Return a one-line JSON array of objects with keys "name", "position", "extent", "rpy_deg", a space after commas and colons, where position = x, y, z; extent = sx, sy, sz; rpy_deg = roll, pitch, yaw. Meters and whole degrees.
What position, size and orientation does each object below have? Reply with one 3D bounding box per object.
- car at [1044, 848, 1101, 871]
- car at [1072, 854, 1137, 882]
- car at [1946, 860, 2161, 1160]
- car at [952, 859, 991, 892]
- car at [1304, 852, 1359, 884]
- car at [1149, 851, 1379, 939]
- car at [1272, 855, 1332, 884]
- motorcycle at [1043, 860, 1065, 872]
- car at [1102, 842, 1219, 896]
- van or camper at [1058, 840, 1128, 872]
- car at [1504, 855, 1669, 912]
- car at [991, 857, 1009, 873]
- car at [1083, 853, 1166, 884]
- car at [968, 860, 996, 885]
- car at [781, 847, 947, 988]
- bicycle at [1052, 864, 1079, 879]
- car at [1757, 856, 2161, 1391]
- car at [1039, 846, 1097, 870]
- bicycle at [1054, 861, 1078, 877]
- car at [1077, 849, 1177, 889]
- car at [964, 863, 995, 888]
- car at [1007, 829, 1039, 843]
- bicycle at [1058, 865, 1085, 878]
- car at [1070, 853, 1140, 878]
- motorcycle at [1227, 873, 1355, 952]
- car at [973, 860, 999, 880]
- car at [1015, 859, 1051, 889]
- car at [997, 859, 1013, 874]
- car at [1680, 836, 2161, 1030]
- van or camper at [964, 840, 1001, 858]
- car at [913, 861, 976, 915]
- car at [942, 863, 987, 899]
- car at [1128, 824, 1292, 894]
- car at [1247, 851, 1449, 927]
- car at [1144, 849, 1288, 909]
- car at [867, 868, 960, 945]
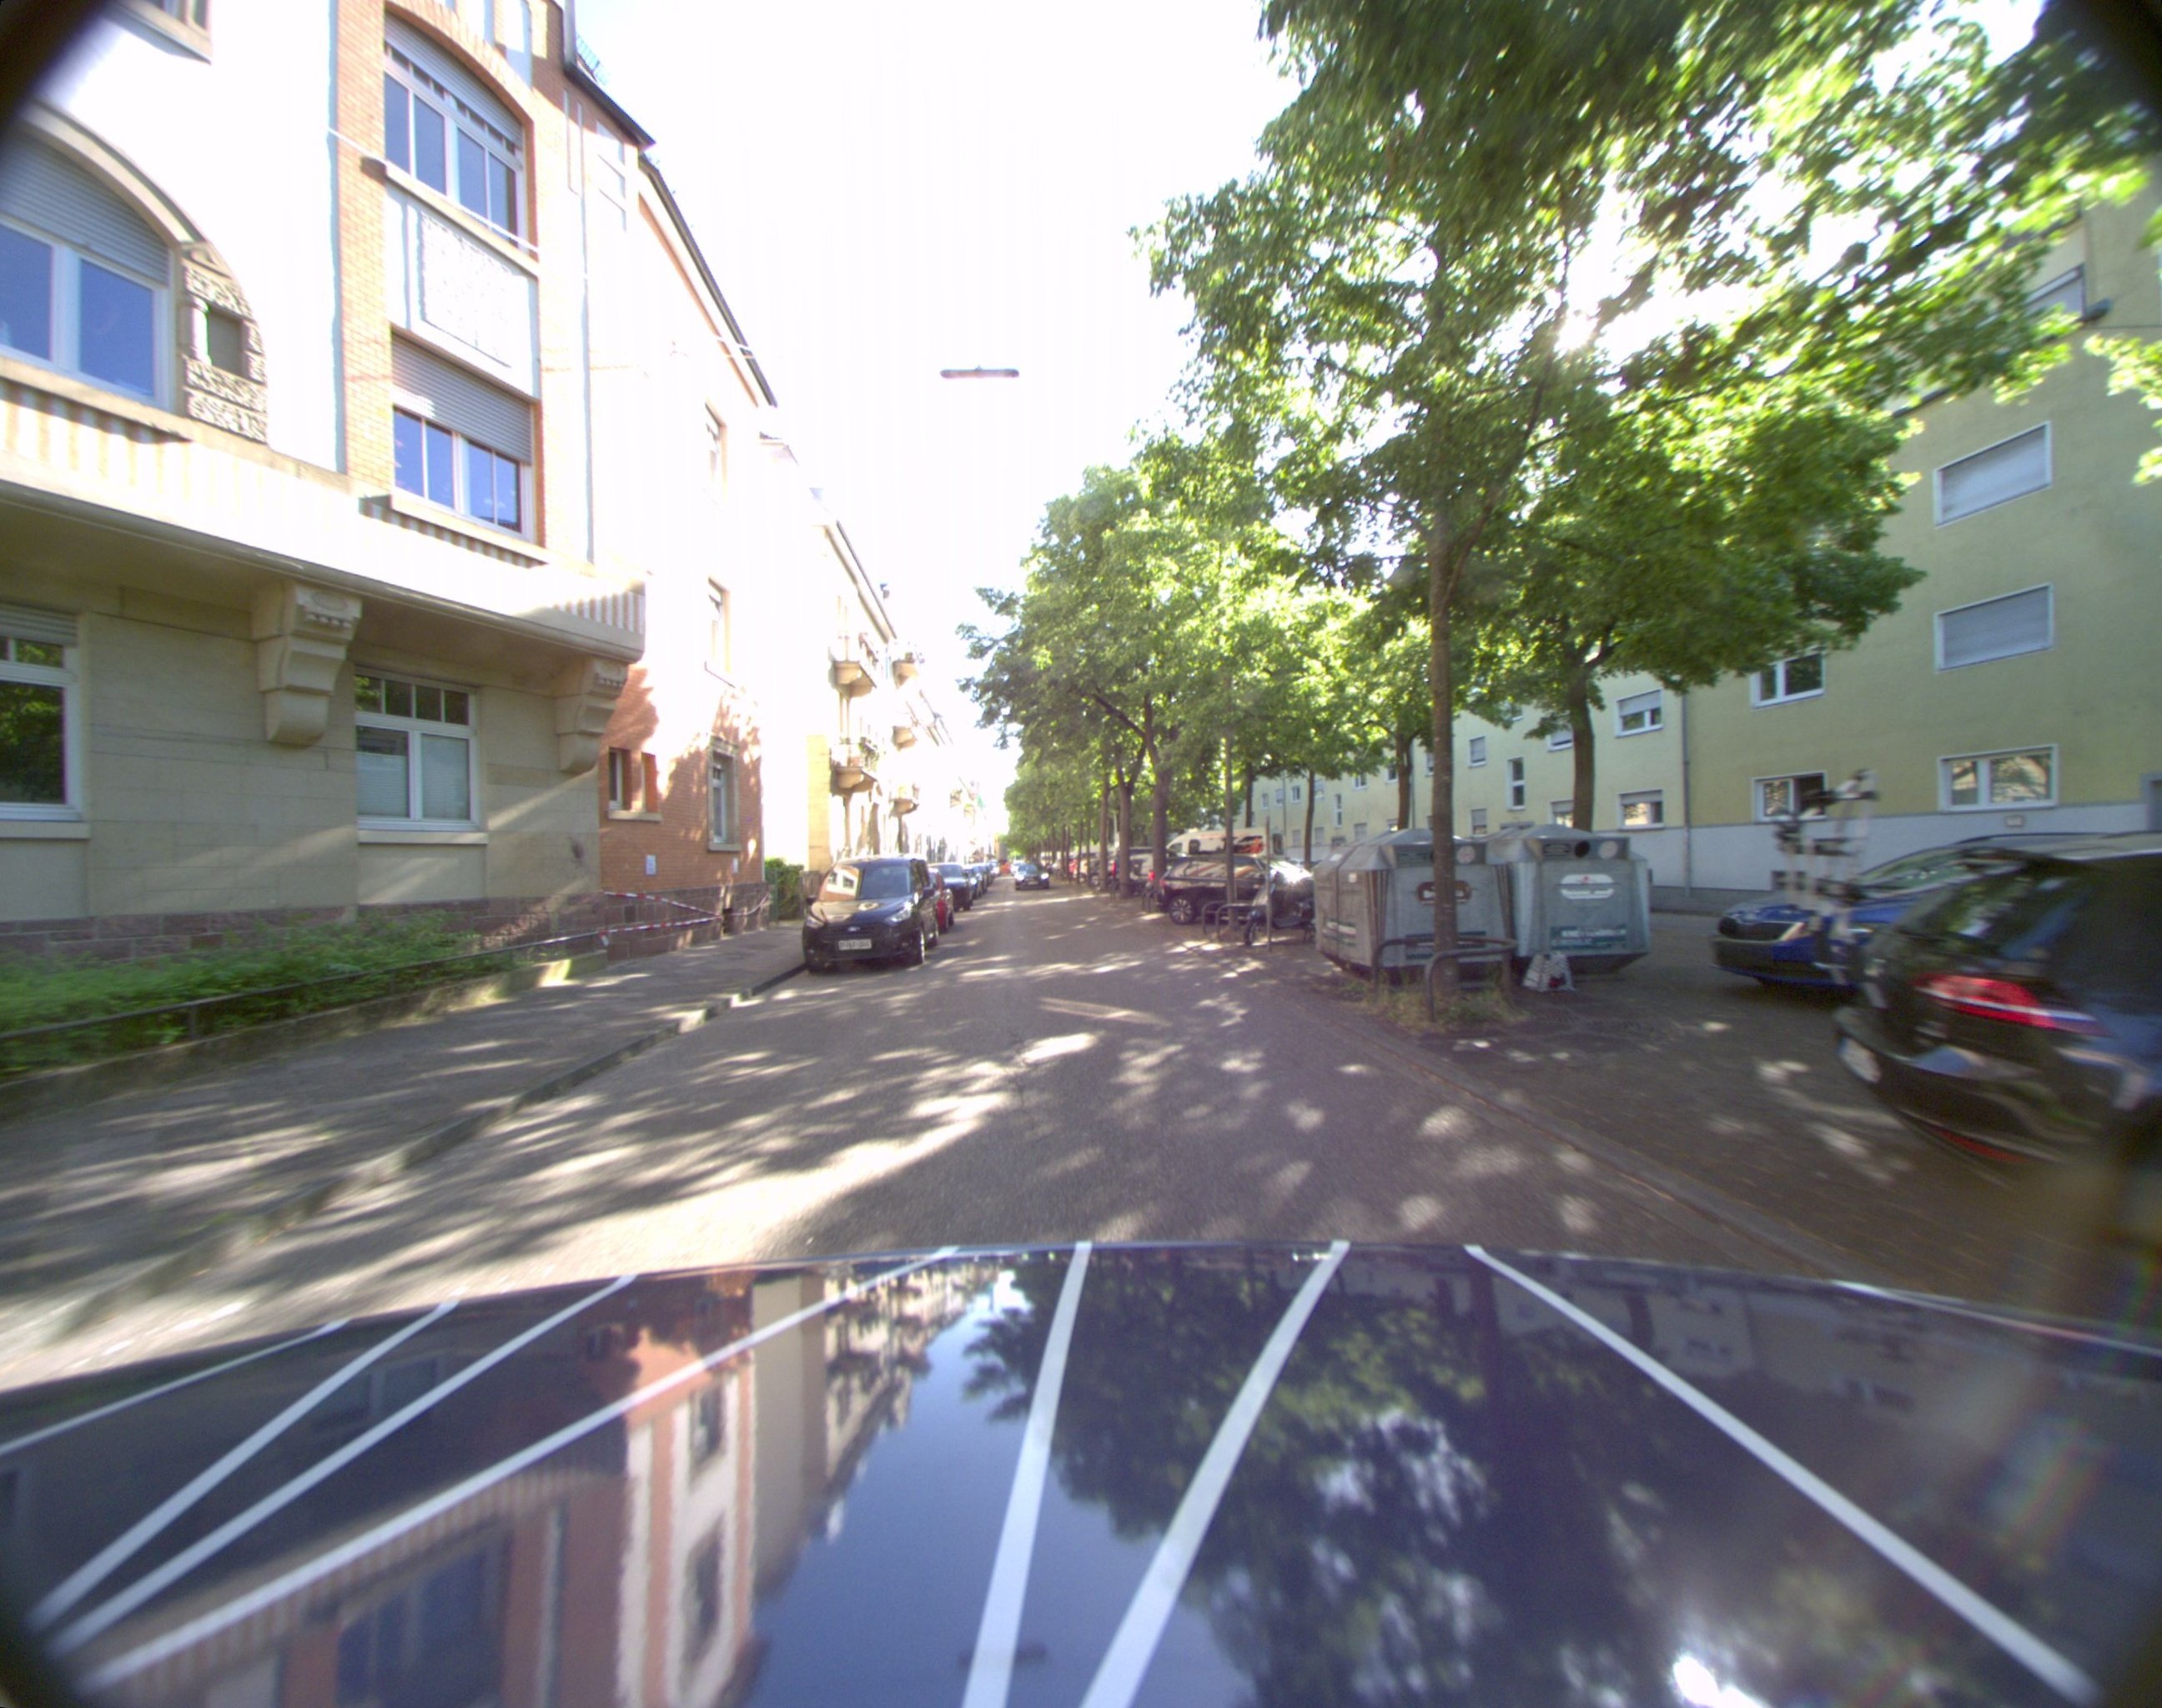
[{"name": "car", "position": [-0.689, 0.419, 60.335], "extent": [4.080, 1.643, 1.865], "rpy_deg": [-3, 0, 22]}, {"name": "car", "position": [1.481, 0.863, 47.760], "extent": [3.686, 1.586, 1.775], "rpy_deg": [-3, 0, 20]}, {"name": "car", "position": [7.144, 0.724, 3.393], "extent": [3.989, 1.395, 1.790], "rpy_deg": [-1, 0, 32]}, {"name": "car", "position": [-5.563, 1.063, 38.949], "extent": [1.811, 1.554, 4.318], "rpy_deg": [-1, 0, -6]}, {"name": "car", "position": [13.036, 0.716, 39.680], "extent": [1.479, 1.550, 3.182], "rpy_deg": [-4, 0, -6]}, {"name": "car", "position": [3.665, 0.769, 15.500], "extent": [4.142, 1.545, 1.837], "rpy_deg": [-1, 0, 36]}, {"name": "car", "position": [12.764, 0.874, 44.165], "extent": [1.898, 1.556, 4.158], "rpy_deg": [0, 0, -7]}, {"name": "motorcycle", "position": [-2.718, 1.241, 77.270], "extent": [2.152, 1.222, 0.882], "rpy_deg": [-1, 0, 4]}, {"name": "car", "position": [2.946, 0.580, 28.267], "extent": [3.841, 1.877, 1.847], "rpy_deg": [-2, 0, 31]}, {"name": "van or camper", "position": [1.196, 0.222, 75.304], "extent": [6.292, 2.808, 2.411], "rpy_deg": [-3, 0, 24]}, {"name": "car", "position": [14.674, 0.789, 22.379], "extent": [1.779, 1.486, 4.143], "rpy_deg": [-1, 0, -7]}, {"name": "car", "position": [-8.019, 1.073, 75.589], "extent": [1.604, 1.484, 3.965], "rpy_deg": [1, 0, -4]}, {"name": "car", "position": [2.342, 0.785, 40.938], "extent": [4.099, 1.473, 1.734], "rpy_deg": [-2, 1, 26]}, {"name": "car", "position": [-6.972, 1.270, 53.808], "extent": [1.772, 1.542, 4.181], "rpy_deg": [-3, 0, -6]}, {"name": "car", "position": [-3.475, 0.911, 13.002], "extent": [1.806, 1.860, 4.271], "rpy_deg": [-5, 0, -5]}, {"name": "bicycle", "position": [-1.078, 1.218, 52.337], "extent": [1.813, 0.988, 0.426], "rpy_deg": [-2, 0, 13]}, {"name": "car", "position": [4.754, 0.760, 2.100], "extent": [4.130, 1.473, 1.779], "rpy_deg": [-1, 1, 35]}, {"name": "car", "position": [-1.516, 0.460, 87.803], "extent": [6.312, 2.544, 2.342], "rpy_deg": [-2, 1, 27]}, {"name": "bicycle", "position": [-1.156, 1.126, 58.677], "extent": [1.688, 1.152, 0.379], "rpy_deg": [-3, 1, 15]}, {"name": "car", "position": [2.129, 0.716, 35.532], "extent": [4.265, 1.632, 1.658], "rpy_deg": [-3, 0, 27]}, {"name": "car", "position": [-6.534, 1.348, 49.278], "extent": [1.697, 1.459, 4.003], "rpy_deg": [-3, 0, -5]}, {"name": "car", "position": [-8.080, -2.450, 105.770], "extent": [4.091, 1.516, 1.705], "rpy_deg": [-5, -2, 25]}, {"name": "bicycle", "position": [-0.725, 1.320, 56.940], "extent": [1.901, 0.913, 0.379], "rpy_deg": [-3, 1, 15]}, {"name": "car", "position": [1.733, 0.816, 54.248], "extent": [4.633, 1.477, 1.758], "rpy_deg": [-3, 0, -20]}, {"name": "motorcycle", "position": [3.349, 0.914, 12.119], "extent": [1.946, 1.164, 0.518], "rpy_deg": [-1, 0, -14]}, {"name": "car", "position": [-7.494, 1.231, 60.098], "extent": [1.775, 1.423, 4.289], "rpy_deg": [-2, 0, -5]}, {"name": "car", "position": [-2.541, 1.011, 40.608], "extent": [1.792, 1.510, 3.999], "rpy_deg": [-1, 0, -2]}, {"name": "car", "position": [-7.814, 1.232, 78.000], "extent": [1.612, 1.412, 4.566], "rpy_deg": [-1, 0, -6]}, {"name": "car", "position": [7.815, 0.604, 6.588], "extent": [3.794, 1.457, 1.646], "rpy_deg": [-1, 0, 9]}, {"name": "van or camper", "position": [-17.591, -0.879, 135.525], "extent": [6.019, 2.984, 2.403], "rpy_deg": [-1, 0, 24]}, {"name": "car", "position": [-4.725, 1.119, 26.892], "extent": [1.870, 1.634, 4.488], "rpy_deg": [-3, 0, -7]}, {"name": "car", "position": [-5.163, 1.148, 33.973], "extent": [1.594, 1.407, 3.630], "rpy_deg": [-3, 0, -4]}, {"name": "car", "position": [5.169, 0.251, 30.628], "extent": [6.069, 2.606, 2.461], "rpy_deg": [0, -2, 27]}, {"name": "car", "position": [5.976, 0.774, 17.510], "extent": [4.096, 1.458, 1.868], "rpy_deg": [-3, 0, 11]}, {"name": "car", "position": [3.889, 0.721, 21.921], "extent": [3.729, 1.572, 1.639], "rpy_deg": [-2, 1, 26]}, {"name": "car", "position": [-4.011, 1.195, 18.801], "extent": [1.650, 1.528, 3.998], "rpy_deg": [-4, 0, -5]}]
